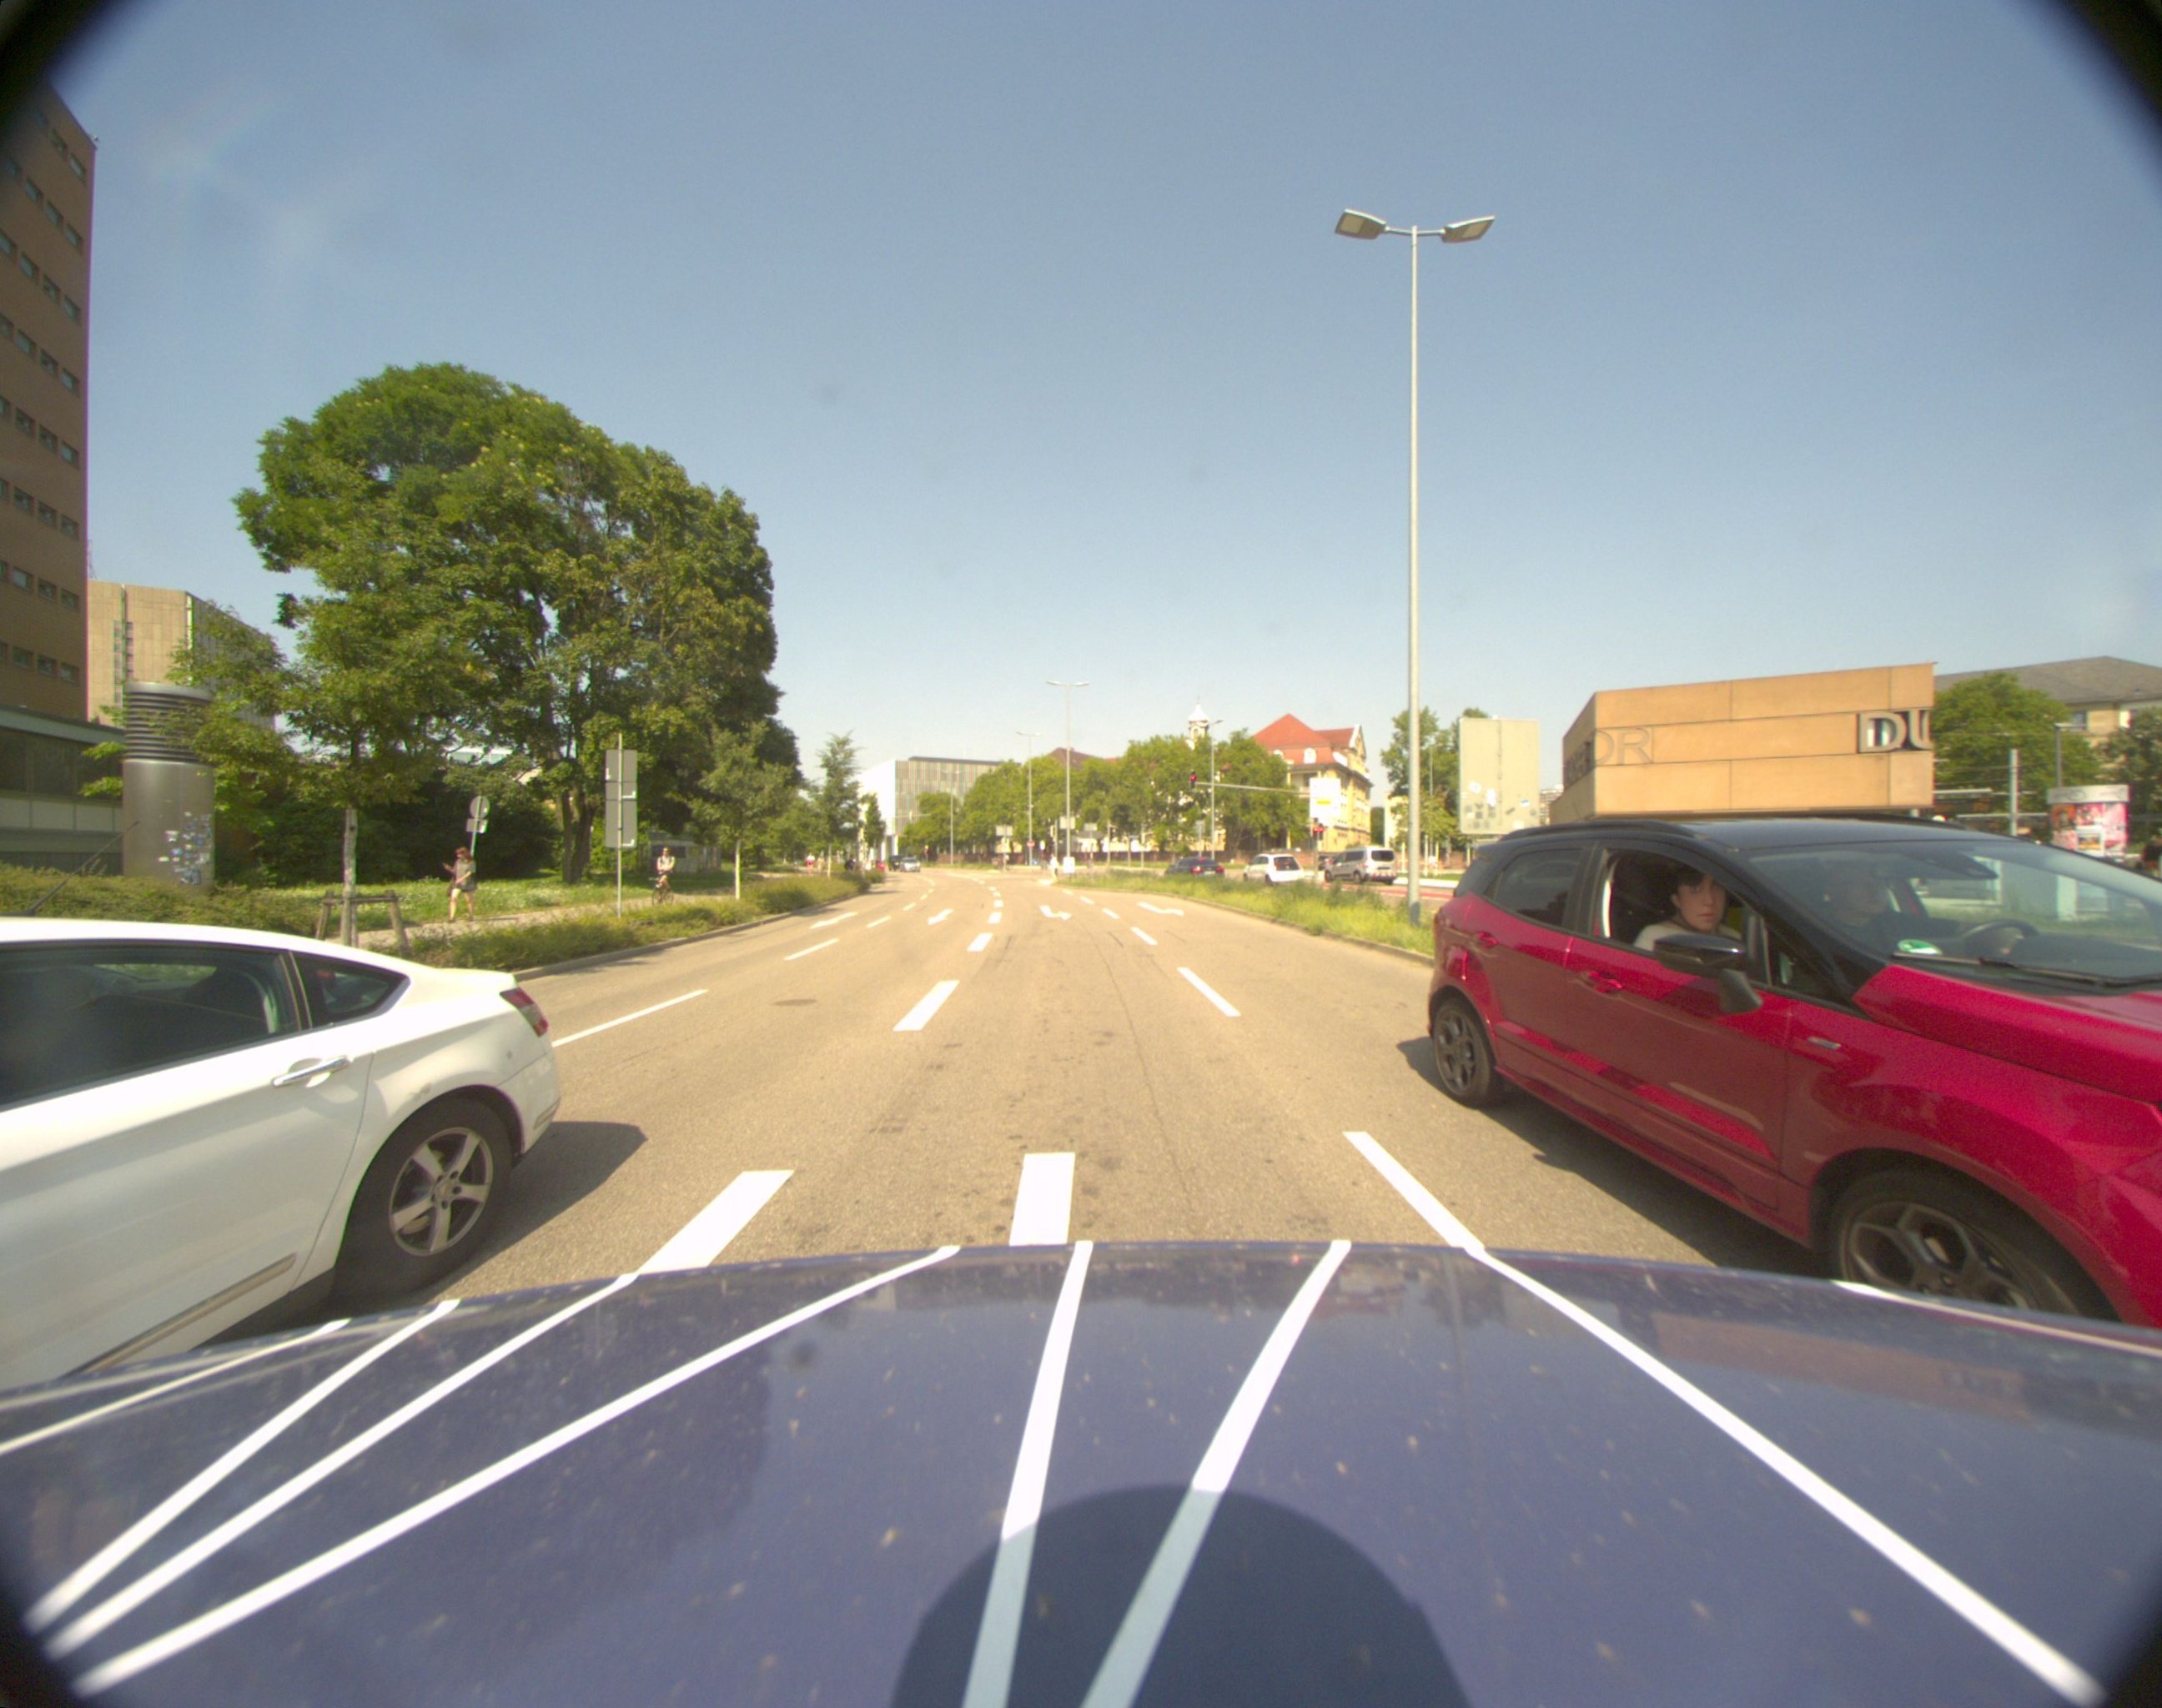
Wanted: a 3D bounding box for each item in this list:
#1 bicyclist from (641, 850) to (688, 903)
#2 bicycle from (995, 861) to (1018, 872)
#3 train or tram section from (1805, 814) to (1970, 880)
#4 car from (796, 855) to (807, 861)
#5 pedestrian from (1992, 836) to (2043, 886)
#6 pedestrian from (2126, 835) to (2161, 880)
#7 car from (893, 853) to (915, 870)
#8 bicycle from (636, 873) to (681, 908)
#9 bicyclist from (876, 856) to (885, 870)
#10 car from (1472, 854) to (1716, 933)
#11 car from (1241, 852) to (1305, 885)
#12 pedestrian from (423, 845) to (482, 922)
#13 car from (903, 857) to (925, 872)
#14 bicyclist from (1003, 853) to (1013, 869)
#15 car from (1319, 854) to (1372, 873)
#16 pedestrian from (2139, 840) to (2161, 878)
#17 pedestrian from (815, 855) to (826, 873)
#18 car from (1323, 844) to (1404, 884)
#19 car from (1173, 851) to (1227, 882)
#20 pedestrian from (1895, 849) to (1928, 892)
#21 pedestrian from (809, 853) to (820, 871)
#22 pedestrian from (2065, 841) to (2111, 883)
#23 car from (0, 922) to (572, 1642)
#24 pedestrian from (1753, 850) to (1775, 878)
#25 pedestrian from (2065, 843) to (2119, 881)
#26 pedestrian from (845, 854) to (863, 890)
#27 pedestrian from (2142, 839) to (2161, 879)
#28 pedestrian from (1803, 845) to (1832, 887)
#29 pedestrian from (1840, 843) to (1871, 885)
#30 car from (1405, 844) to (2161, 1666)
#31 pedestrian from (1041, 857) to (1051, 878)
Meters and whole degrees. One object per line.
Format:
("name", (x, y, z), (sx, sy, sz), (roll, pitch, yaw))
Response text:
("bicyclist", (-12.708, 0.677, 23.199), (0.904, 1.596, 0.924), (0, 1, -2))
("bicycle", (-7.416, 1.295, 75.948), (2.267, 1.070, 0.659), (0, 0, -7))
("train or tram section", (48.068, -0.384, 45.932), (2.698, 3.418, 13.446), (0, 0, 28))
("car", (-73.719, 0.970, 200.252), (1.877, 1.521, 4.522), (0, 0, -31))
("pedestrian", (28.100, 0.216, 22.811), (0.771, 1.488, 0.606), (0, 1, -1))
("pedestrian", (42.660, 0.136, 30.405), (0.804, 1.812, 0.534), (0, 1, 28))
("car", (-20.881, 0.851, 89.478), (1.893, 1.908, 4.525), (-2, 0, -20))
("bicycle", (-12.695, 1.075, 22.876), (0.357, 0.974, 1.782), (0, 0, 1))
("bicyclist", (-21.007, 0.921, 79.589), (0.679, 1.392, 1.049), (0, 1, -3))
("car", (11.636, 0.786, 17.744), (2.000, 1.576, 4.710), (0, 0, -11))
("car", (8.958, 0.654, 35.732), (1.527, 1.470, 3.473), (0, 0, -12))
("pedestrian", (-14.195, 0.648, 17.187), (0.672, 1.689, 0.805), (0, 1, -7))
("car", (-18.234, 1.169, 82.909), (1.661, 1.521, 4.525), (-2, 0, -21))
("bicyclist", (-7.312, 0.720, 76.002), (1.017, 1.542, 0.718), (0, 1, -6))
("car", (22.614, 0.814, 65.028), (4.003, 1.608, 1.797), (0, 0, -17))
("pedestrian", (48.523, 0.215, 33.952), (1.076, 1.686, 1.066), (0, 1, 28))
("pedestrian", (-19.816, 0.771, 57.804), (0.618, 1.291, 0.436), (-3, 1, -28))
("car", (13.590, 0.448, 36.799), (1.869, 1.843, 3.911), (0, 1, -12))
("car", (5.590, 0.557, 35.987), (1.526, 1.417, 3.474), (0, 0, -9))
("pedestrian", (28.737, 0.562, 26.306), (0.539, 1.488, 0.541), (0, 1, -1))
("pedestrian", (-20.193, 0.601, 57.609), (0.635, 1.291, 0.486), (-3, 1, -27))
("pedestrian", (45.096, 0.355, 34.029), (0.927, 1.812, 0.939), (0, 1, 28))
("car", (-3.286, 1.028, 1.165), (1.773, 1.420, 4.610), (0, 0, 2))
("pedestrian", (26.711, 0.398, 29.704), (0.538, 1.093, 0.543), (0, 1, 31))
("pedestrian", (45.076, 0.347, 33.899), (1.076, 1.686, 1.066), (0, 1, 28))
("pedestrian", (-11.952, 0.924, 39.961), (0.823, 1.892, 0.630), (-1, 1, -12))
("pedestrian", (48.630, 0.221, 34.050), (0.927, 1.812, 0.939), (0, 1, 28))
("pedestrian", (26.658, 0.427, 27.503), (0.539, 1.488, 0.541), (0, 1, -1))
("pedestrian", (27.849, 0.361, 27.314), (0.539, 1.488, 0.541), (0, 1, -1))
("car", (2.926, 0.781, 2.854), (1.694, 1.577, 3.844), (-2, 0, -1))
("pedestrian", (-2.213, 0.854, 47.975), (0.605, 1.291, 0.617), (-2, 1, -4))
